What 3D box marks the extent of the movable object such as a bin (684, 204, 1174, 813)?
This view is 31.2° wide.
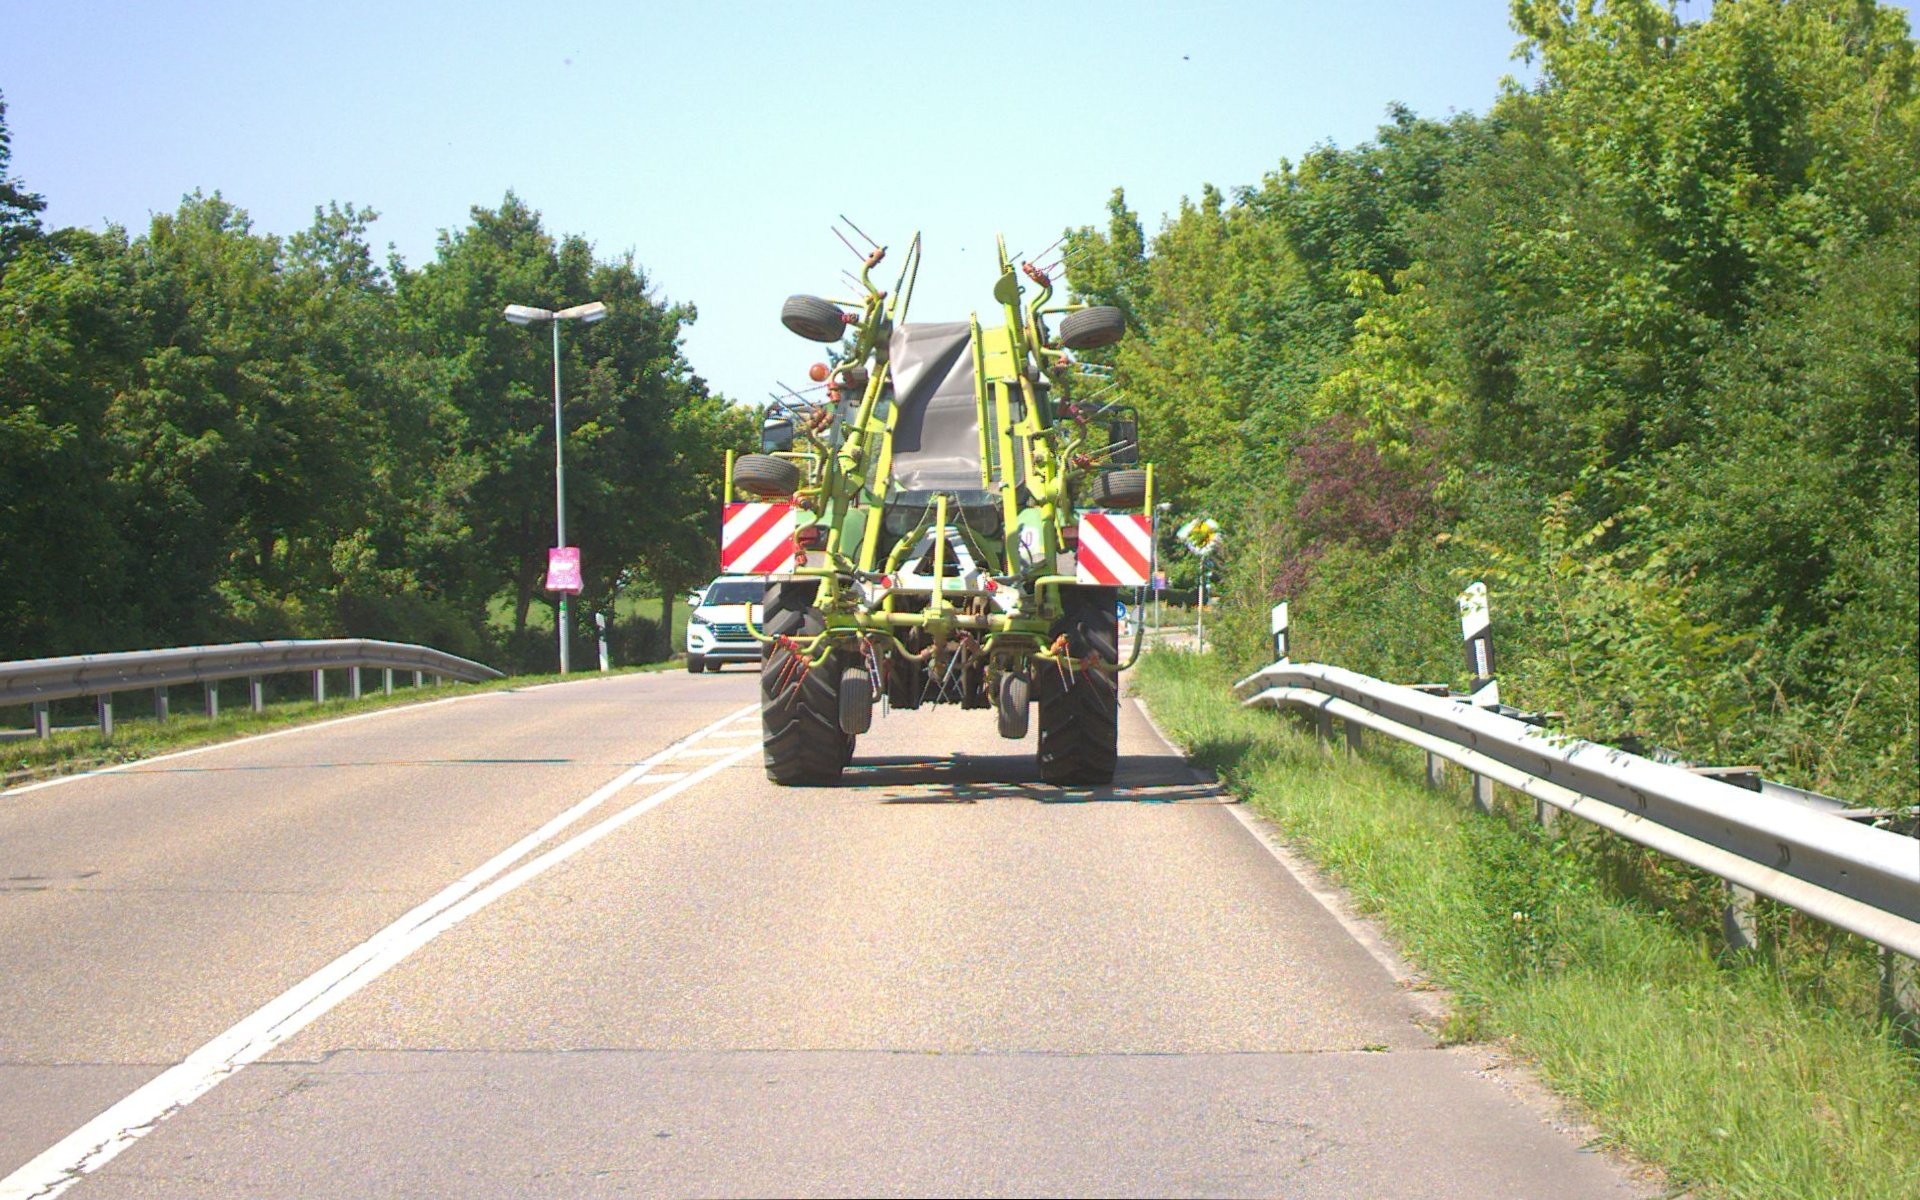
[{"bbox_3d":[-0.155,-0.538,22.318,2.755,3.432,5.670,0,0,0],"label":"movable object such as a bin"}]

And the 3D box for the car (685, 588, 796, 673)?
[{"bbox_3d":[-3.713,0.501,58.654,1.739,1.371,4.000,0,0,-1],"label":"car"}]
